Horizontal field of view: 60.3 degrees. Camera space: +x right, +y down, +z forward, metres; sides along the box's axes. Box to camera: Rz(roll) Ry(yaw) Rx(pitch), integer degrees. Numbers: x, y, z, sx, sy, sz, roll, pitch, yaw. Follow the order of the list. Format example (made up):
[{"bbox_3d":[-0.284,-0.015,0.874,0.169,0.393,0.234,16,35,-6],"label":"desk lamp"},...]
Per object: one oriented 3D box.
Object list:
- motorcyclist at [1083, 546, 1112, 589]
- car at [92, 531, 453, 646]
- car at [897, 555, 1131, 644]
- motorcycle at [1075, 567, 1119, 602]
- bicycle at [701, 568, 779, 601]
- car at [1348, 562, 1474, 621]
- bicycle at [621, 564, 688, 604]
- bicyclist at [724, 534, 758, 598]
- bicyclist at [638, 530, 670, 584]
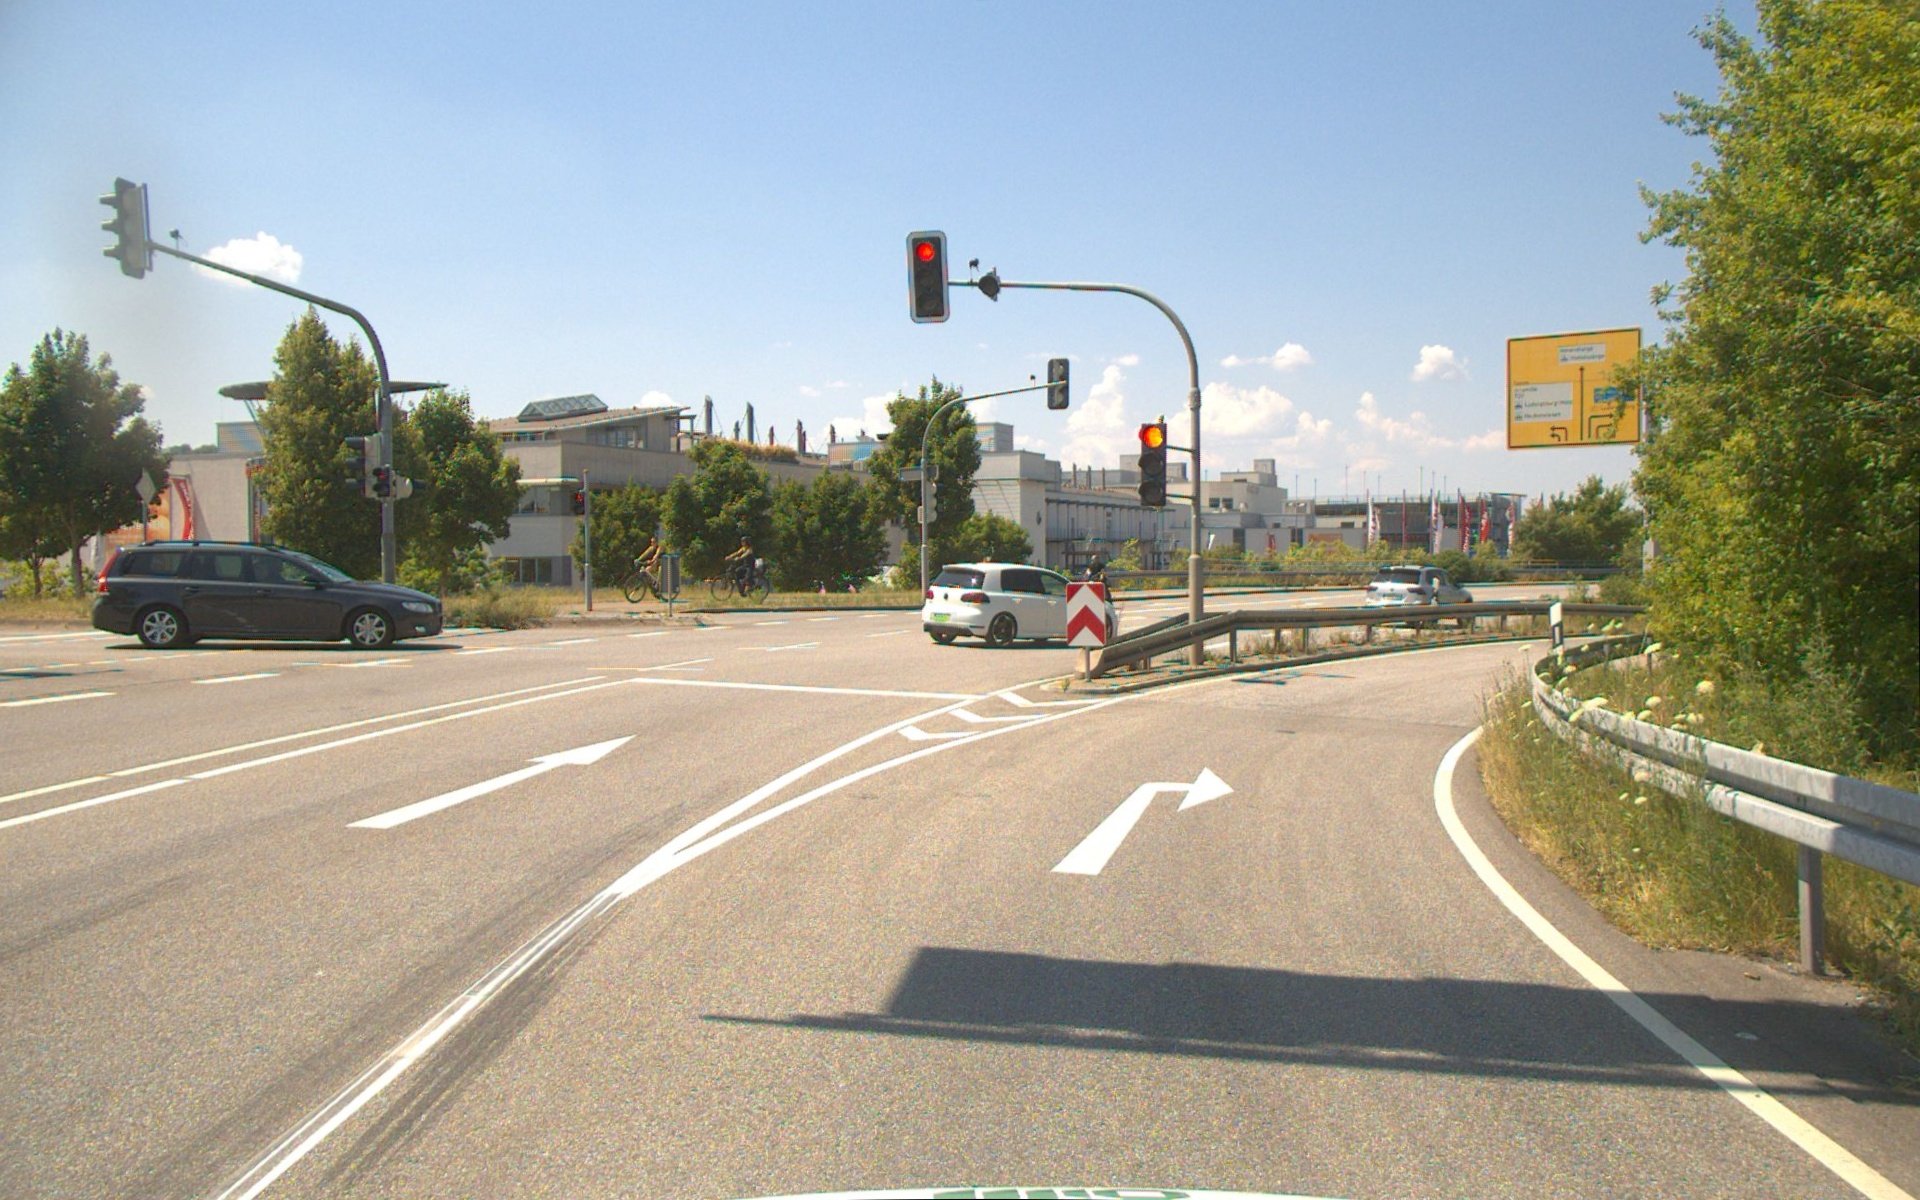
[{"bbox_3d":[4.325,-1.024,52.134,0.661,1.325,0.722,-1,0,28],"label":"motorcyclist"},{"bbox_3d":[-9.947,-0.164,24.287,4.637,1.572,1.731,1,1,-13],"label":"car"},{"bbox_3d":[1.051,-0.014,30.743,4.098,1.512,1.971,1,2,-41],"label":"car"},{"bbox_3d":[4.319,-0.495,52.102,0.551,1.099,2.281,0,1,28],"label":"motorcycle"},{"bbox_3d":[-6.052,-0.421,45.610,2.100,0.867,0.529,1,2,-33],"label":"bicycle"},{"bbox_3d":[12.492,-0.254,45.608,1.960,1.531,4.380,-1,0,35],"label":"car"},{"bbox_3d":[-8.177,-0.429,44.354,1.818,1.042,0.408,0,2,-44],"label":"bicycle"},{"bbox_3d":[-6.040,-0.941,45.589,0.721,1.747,0.526,1,2,-32],"label":"bicyclist"},{"bbox_3d":[-8.196,-1.150,44.321,0.679,1.428,0.402,1,1,-42],"label":"bicyclist"}]
